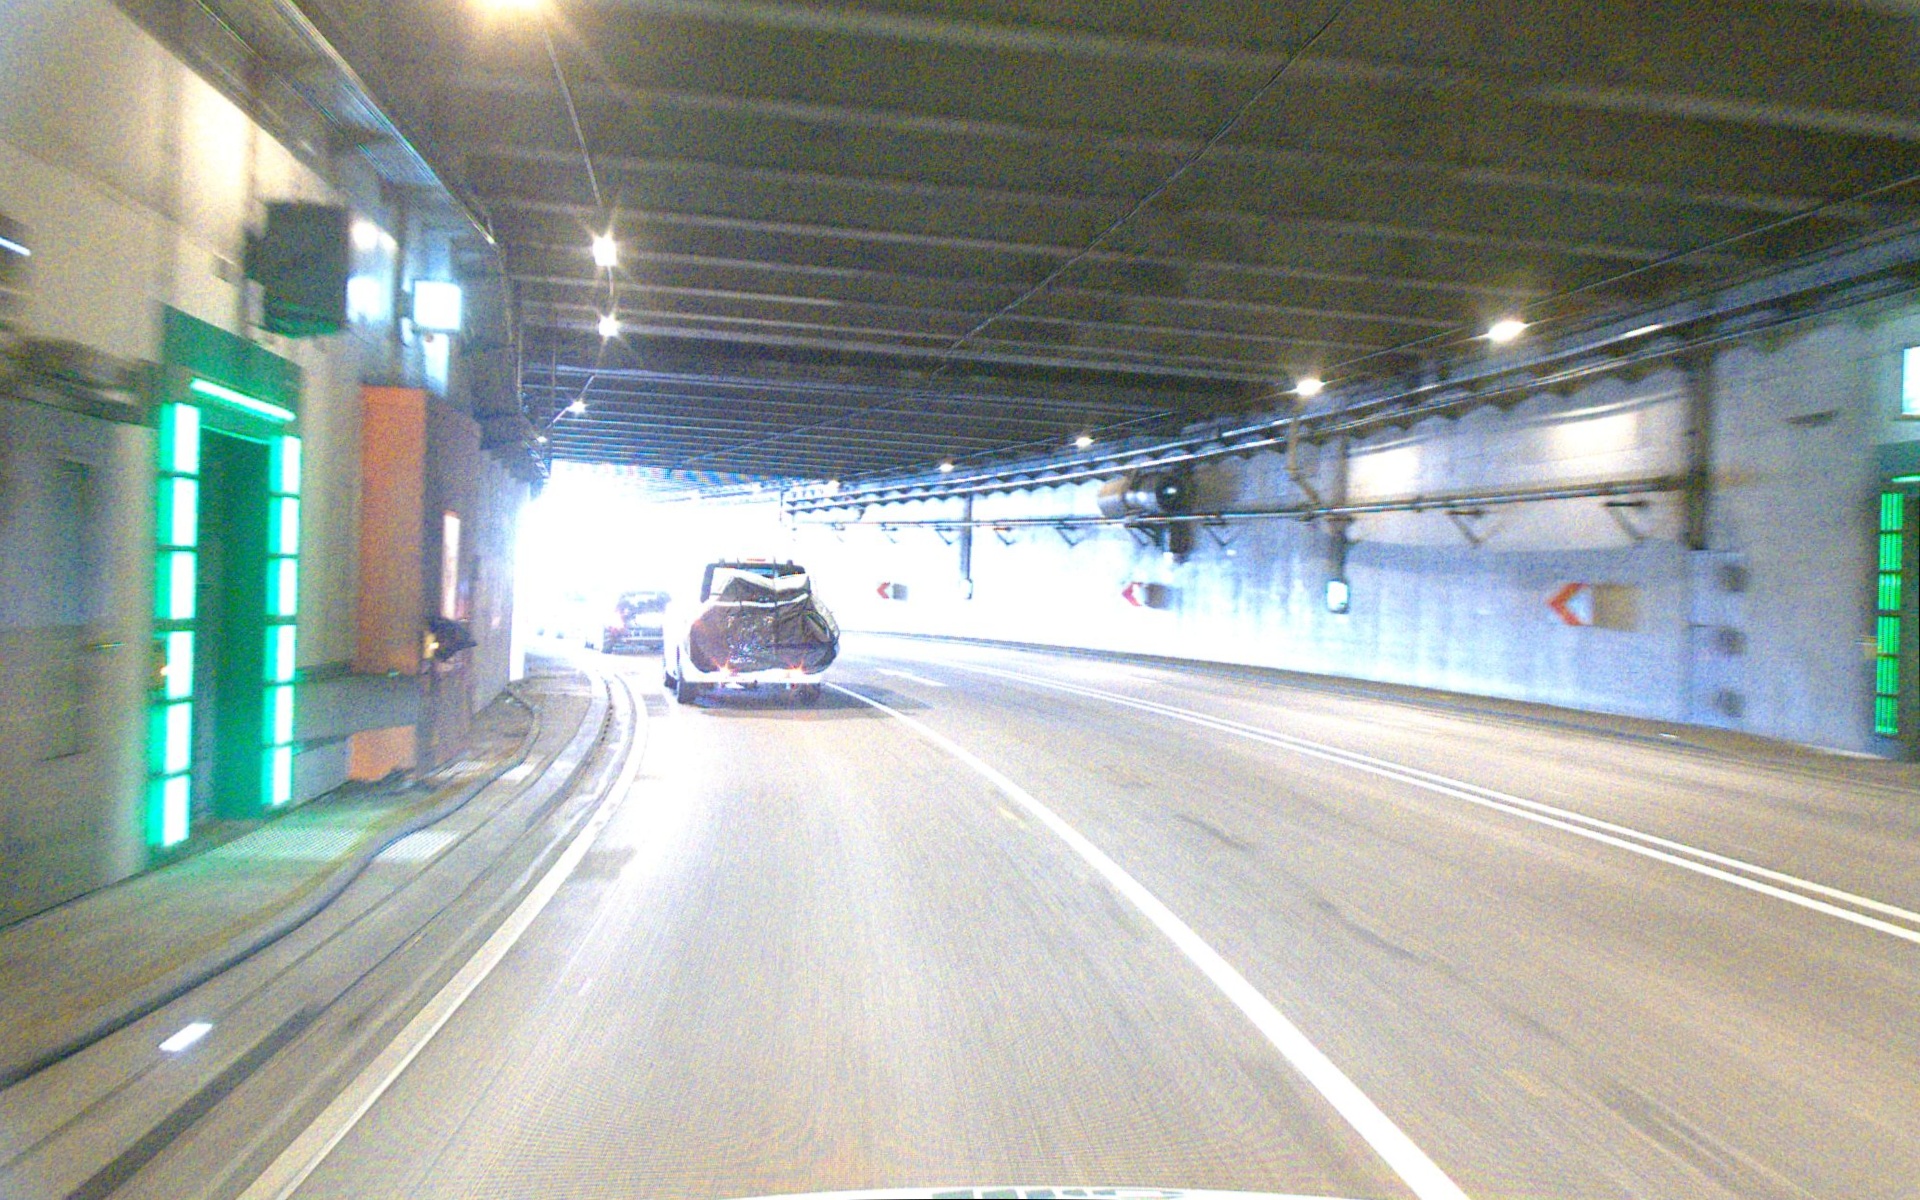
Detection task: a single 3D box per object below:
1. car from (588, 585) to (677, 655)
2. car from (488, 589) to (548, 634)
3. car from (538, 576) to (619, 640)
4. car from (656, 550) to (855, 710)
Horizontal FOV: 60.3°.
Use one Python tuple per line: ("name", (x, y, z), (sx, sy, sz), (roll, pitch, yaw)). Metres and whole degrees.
("car", (-7.184, 0.400, 36.083), (1.577, 1.419, 3.262), (-1, 1, -17))
("car", (-17.480, 0.451, 65.321), (1.584, 1.659, 3.325), (2, 0, -28))
("car", (-10.400, 0.195, 45.007), (1.581, 1.622, 3.333), (2, 0, -23))
("car", (-2.887, 0.322, 22.239), (1.960, 1.879, 5.280), (0, 1, -15))
